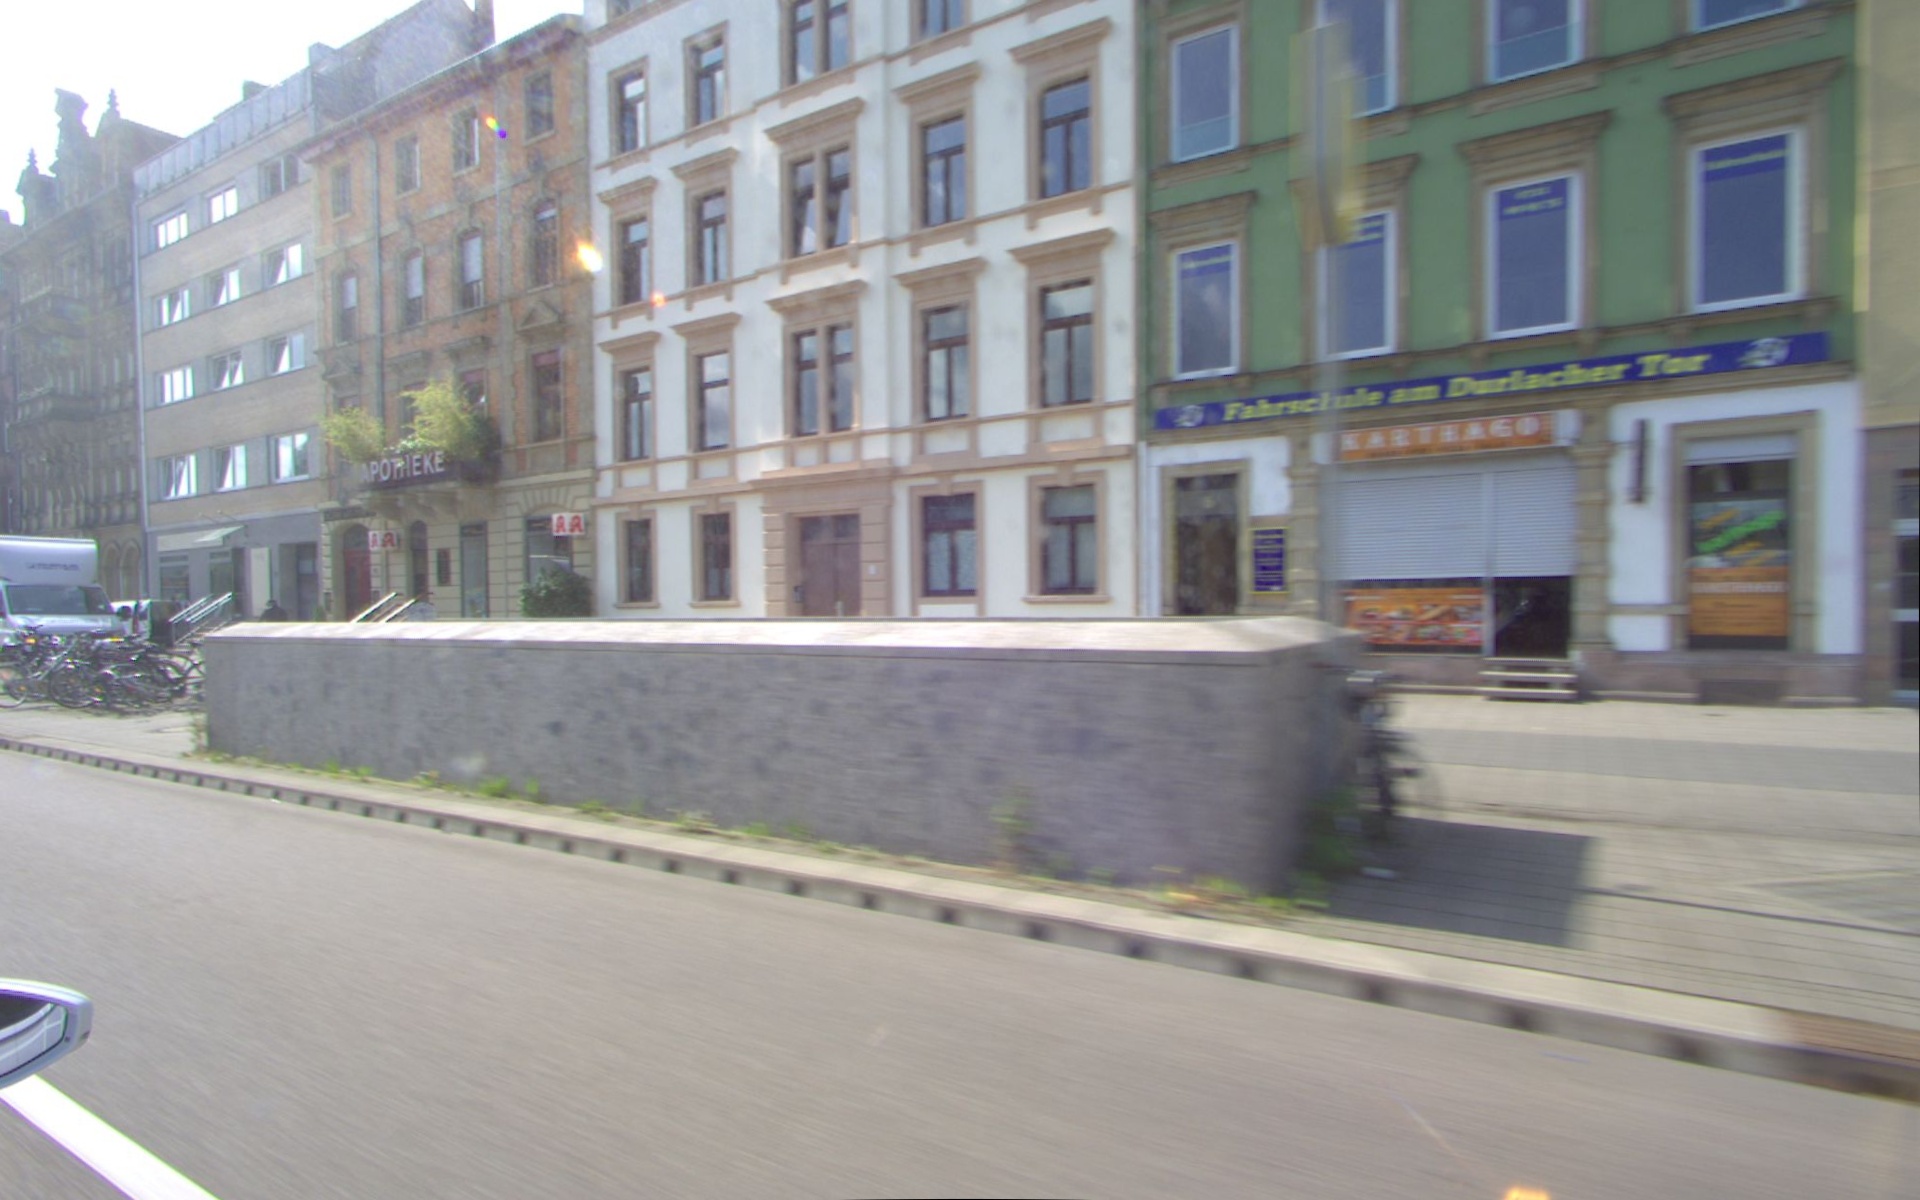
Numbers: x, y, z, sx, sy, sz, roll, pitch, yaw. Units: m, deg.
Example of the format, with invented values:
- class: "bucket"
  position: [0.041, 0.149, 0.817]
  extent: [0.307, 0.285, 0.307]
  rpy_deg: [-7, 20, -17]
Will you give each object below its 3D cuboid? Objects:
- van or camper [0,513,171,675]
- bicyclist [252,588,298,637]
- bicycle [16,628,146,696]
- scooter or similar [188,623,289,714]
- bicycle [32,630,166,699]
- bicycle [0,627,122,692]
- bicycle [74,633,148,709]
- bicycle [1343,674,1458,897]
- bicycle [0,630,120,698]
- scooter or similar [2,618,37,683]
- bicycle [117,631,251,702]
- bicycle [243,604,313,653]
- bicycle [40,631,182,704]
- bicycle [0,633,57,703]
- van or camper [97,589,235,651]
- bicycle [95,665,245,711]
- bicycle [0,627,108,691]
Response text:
- class: "van or camper"
  position: [-22.043, -0.054, 23.981]
  extent: [7.534, 3.375, 2.705]
  rpy_deg: [-1, 0, 34]
- class: "bicyclist"
  position: [-17.278, 0.330, 25.273]
  extent: [0.803, 1.161, 0.706]
  rpy_deg: [-5, -4, 34]
- class: "bicycle"
  position: [-15.365, 1.061, 17.567]
  extent: [0.366, 1.099, 1.760]
  rpy_deg: [1, 0, 20]
- class: "scooter or similar"
  position: [-10.737, 0.993, 14.936]
  extent: [0.376, 1.255, 1.162]
  rpy_deg: [0, 2, 20]
- class: "bicycle"
  position: [-14.702, 1.074, 17.155]
  extent: [0.366, 1.099, 1.759]
  rpy_deg: [1, 0, 23]
- class: "bicycle"
  position: [-16.399, 1.060, 18.227]
  extent: [0.366, 1.099, 1.758]
  rpy_deg: [1, 0, 26]
- class: "bicycle"
  position: [-13.187, 1.080, 15.546]
  extent: [1.738, 1.085, 0.370]
  rpy_deg: [0, 0, 32]
- class: "bicycle"
  position: [2.477, 0.960, 5.748]
  extent: [0.504, 1.016, 1.775]
  rpy_deg: [0, -2, 21]
- class: "bicycle"
  position: [-15.824, 1.086, 17.548]
  extent: [0.366, 1.099, 1.760]
  rpy_deg: [1, 0, 20]
- class: "scooter or similar"
  position: [-18.211, 0.970, 19.379]
  extent: [1.238, 1.229, 0.367]
  rpy_deg: [-1, -2, 41]
- class: "bicycle"
  position: [-12.957, 1.088, 16.765]
  extent: [0.367, 1.099, 1.754]
  rpy_deg: [1, 0, 34]
- class: "bicycle"
  position: [-17.165, 0.734, 25.192]
  extent: [2.180, 1.060, 0.702]
  rpy_deg: [-6, -4, 34]
- class: "bicycle"
  position: [-13.907, 1.076, 16.461]
  extent: [0.367, 1.099, 1.754]
  rpy_deg: [1, 0, 34]
- class: "bicycle"
  position: [-15.443, 1.093, 15.988]
  extent: [0.365, 1.099, 1.600]
  rpy_deg: [1, 0, 13]
- class: "van or camper"
  position: [-27.219, 0.678, 34.271]
  extent: [5.222, 1.931, 1.988]
  rpy_deg: [-1, 2, 32]
- class: "bicycle"
  position: [-12.330, 1.367, 15.662]
  extent: [1.737, 0.594, 0.638]
  rpy_deg: [-1, 0, -8]
- class: "bicycle"
  position: [-16.885, 1.064, 18.483]
  extent: [0.366, 1.099, 1.758]
  rpy_deg: [1, 0, 26]
